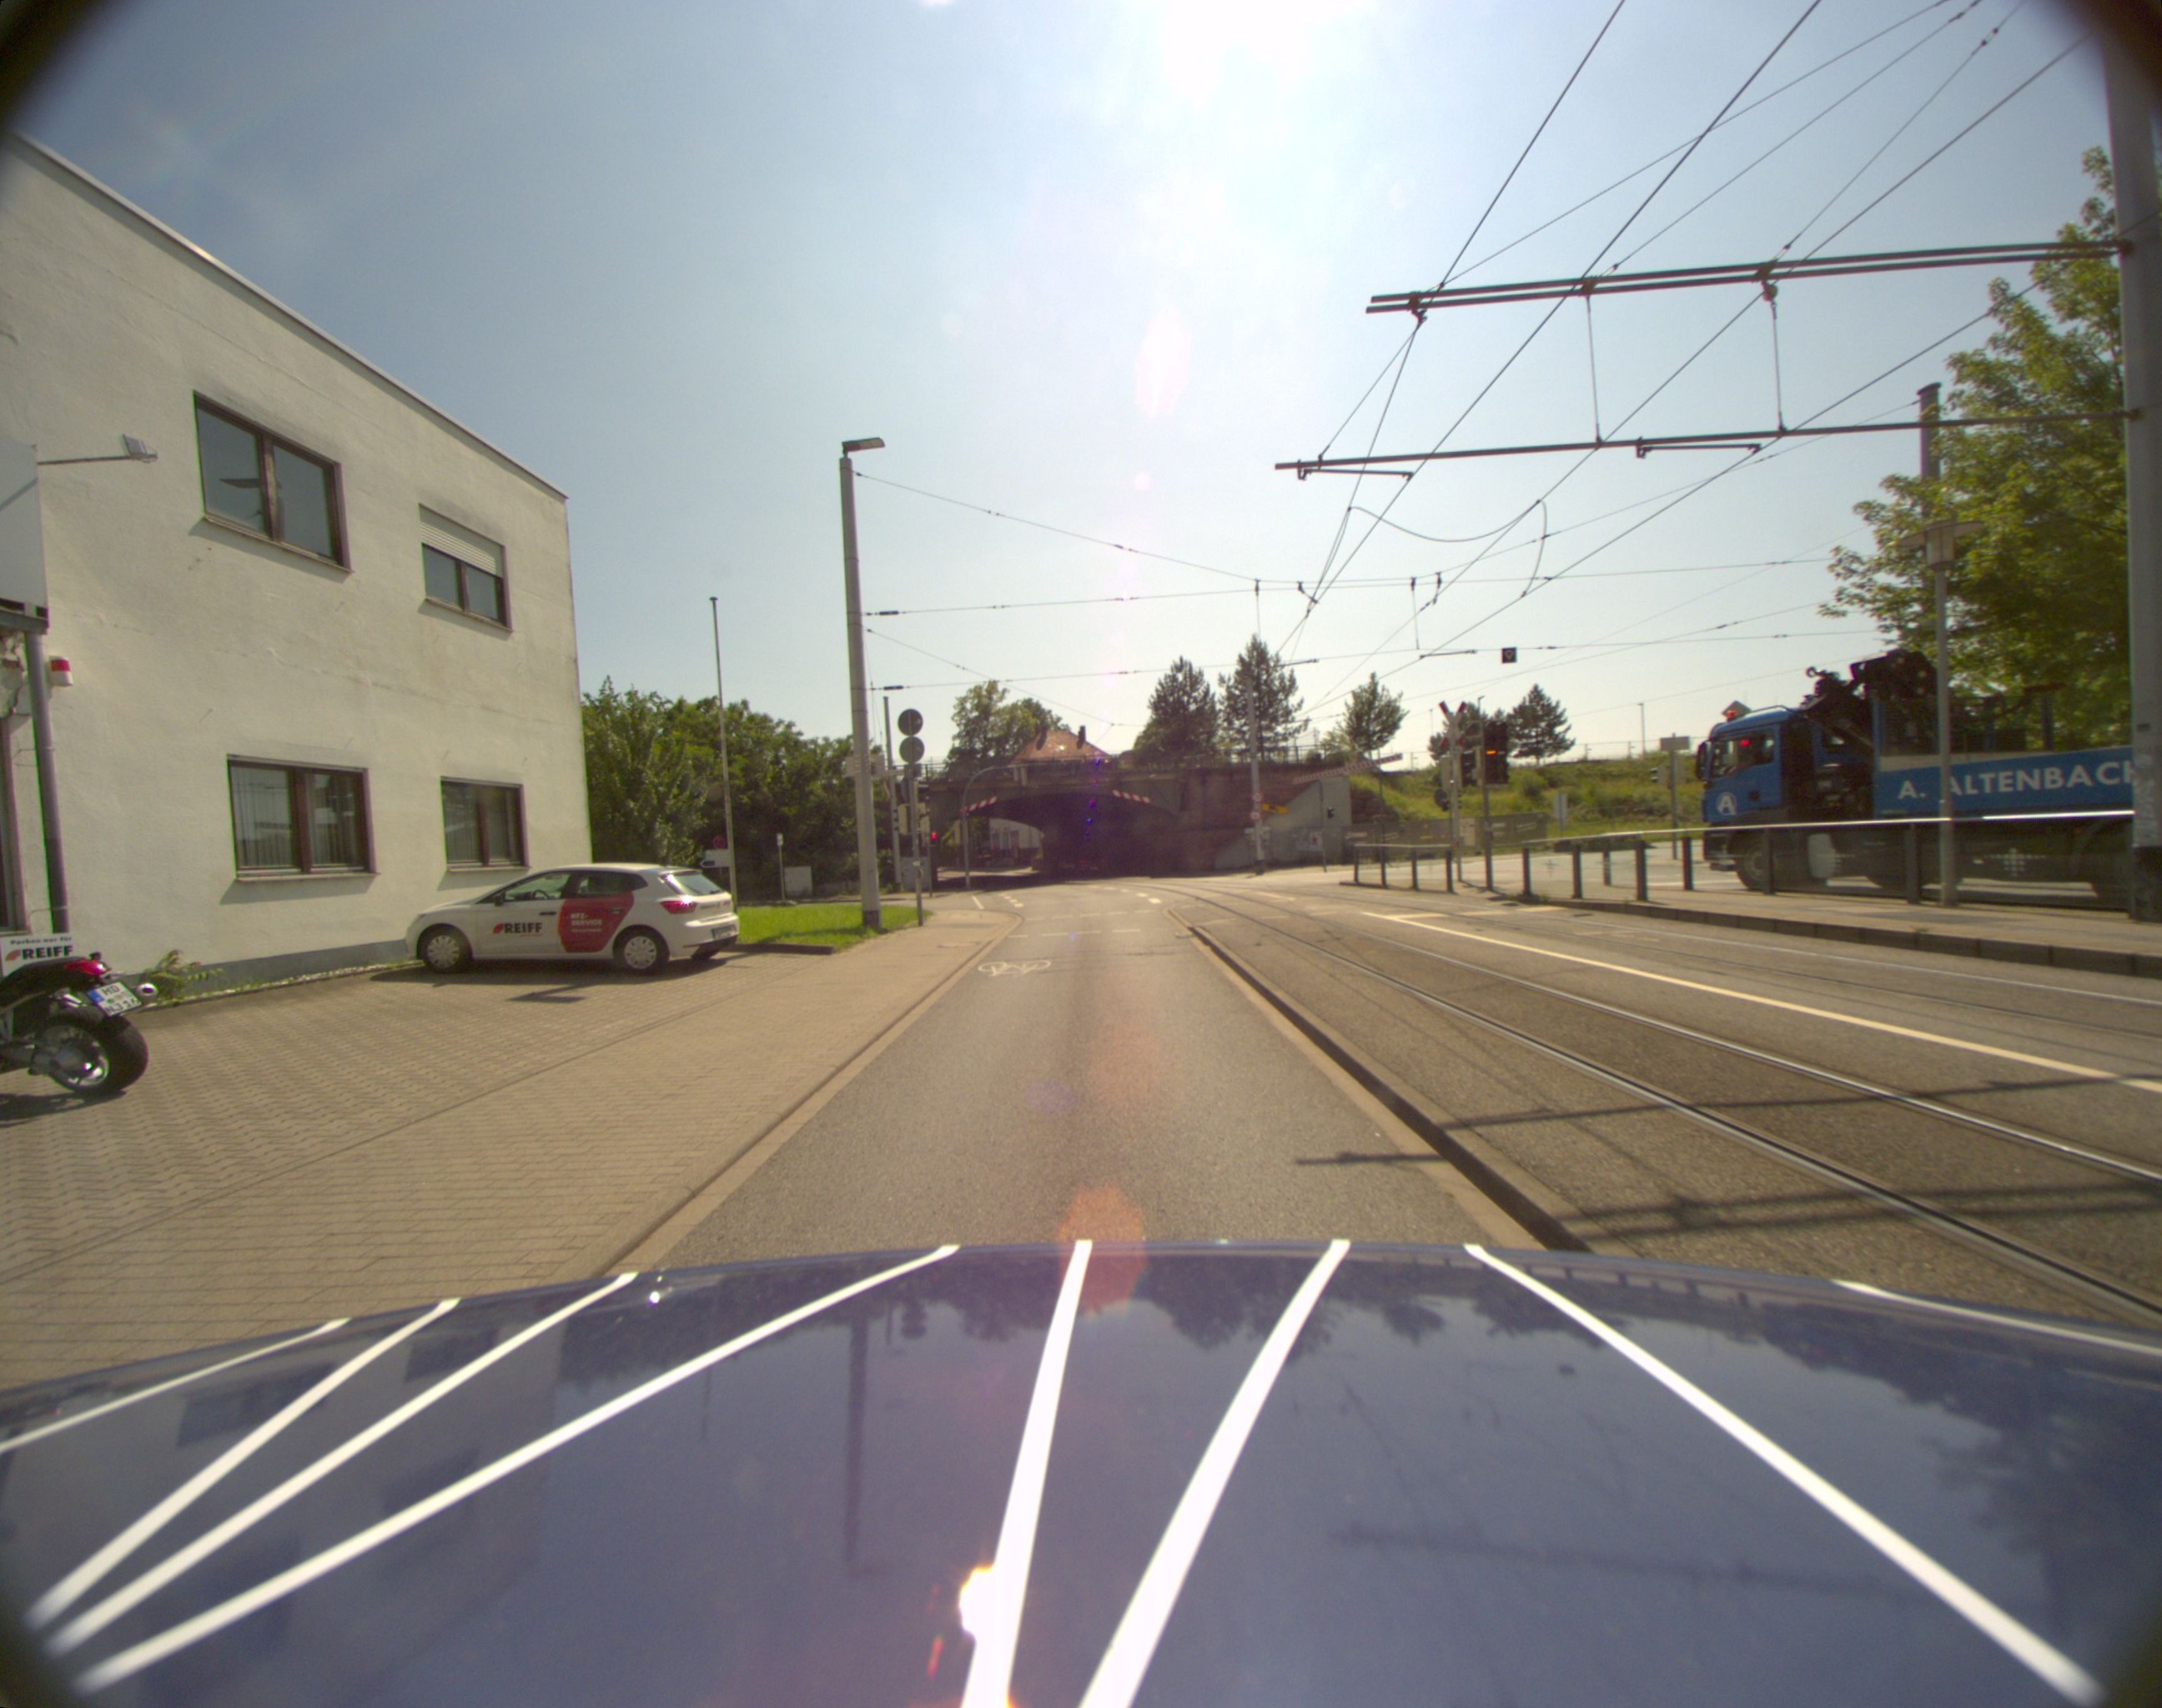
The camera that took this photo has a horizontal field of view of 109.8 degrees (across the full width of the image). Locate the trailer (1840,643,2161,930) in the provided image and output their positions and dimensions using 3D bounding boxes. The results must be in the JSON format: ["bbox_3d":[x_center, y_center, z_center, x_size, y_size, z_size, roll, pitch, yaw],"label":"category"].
[{"bbox_3d":[12.545,-0.757,7.716,2.750,2.960,6.898,-3,0,1],"label":"trailer"}]

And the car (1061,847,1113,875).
[{"bbox_3d":[0.329,0.461,47.754,1.824,1.594,4.300,-3,0,-20],"label":"car"}]

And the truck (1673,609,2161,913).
[{"bbox_3d":[12.557,-1.155,11.768,2.750,3.588,5.039,-3,1,1],"label":"truck"}]

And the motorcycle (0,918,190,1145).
[{"bbox_3d":[-7.334,1.104,4.931,2.188,1.301,0.731,0,2,0],"label":"motorcycle"}]

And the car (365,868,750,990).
[{"bbox_3d":[-6.993,0.967,10.509,3.997,1.454,1.889,0,1,0],"label":"car"}]
